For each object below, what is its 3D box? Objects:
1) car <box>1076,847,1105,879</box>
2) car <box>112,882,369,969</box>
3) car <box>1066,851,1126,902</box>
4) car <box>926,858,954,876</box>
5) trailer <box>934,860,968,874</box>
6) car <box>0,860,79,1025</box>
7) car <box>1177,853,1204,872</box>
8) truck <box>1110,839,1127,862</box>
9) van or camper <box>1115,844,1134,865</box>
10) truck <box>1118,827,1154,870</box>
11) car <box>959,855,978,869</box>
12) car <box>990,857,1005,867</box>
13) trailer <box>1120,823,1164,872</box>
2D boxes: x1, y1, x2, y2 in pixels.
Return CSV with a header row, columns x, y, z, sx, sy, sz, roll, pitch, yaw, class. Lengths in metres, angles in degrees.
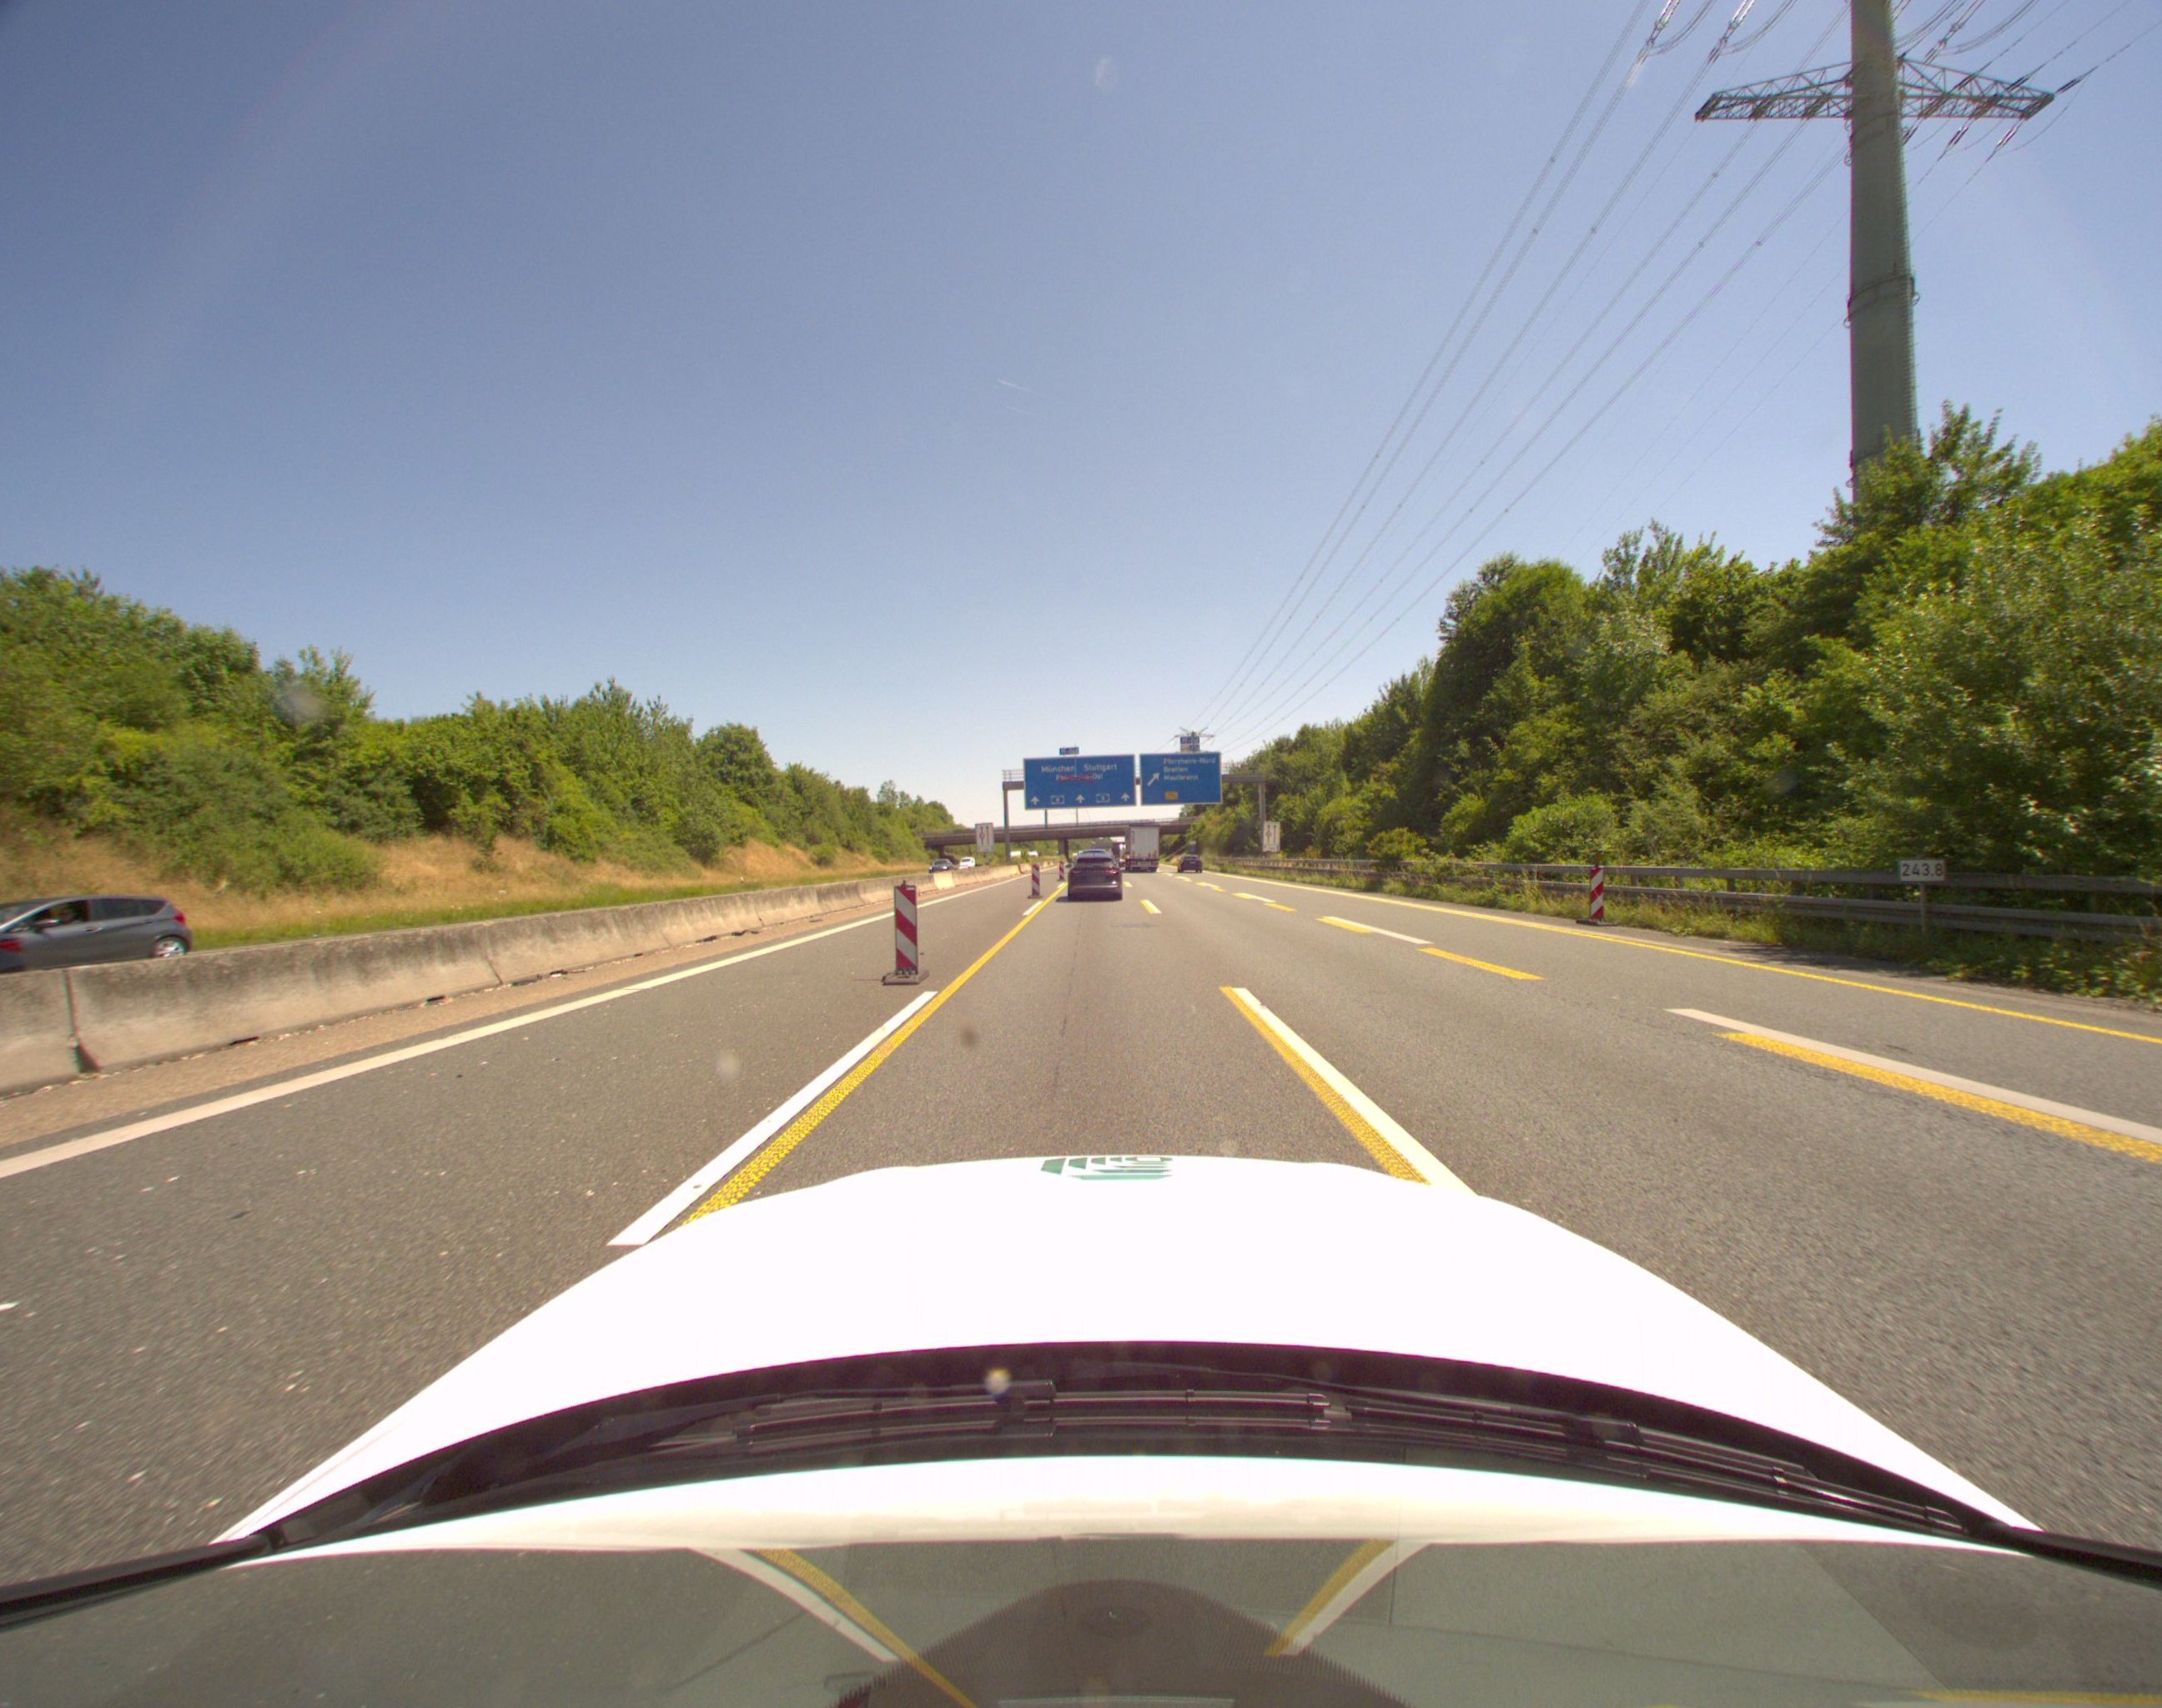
x,y,z,sx,sy,sz,roll,pitch,yaw,class
0.629,0.577,54.717,1.889,1.841,4.443,1,3,0,car
-18.562,1.497,18.290,1.494,1.548,4.001,-2,0,2,car
0.484,0.717,28.467,1.889,1.592,4.442,-2,0,0,car
-13.961,1.277,81.104,1.906,1.753,4.566,-1,0,1,car
-13.831,1.335,87.039,2.348,1.344,7.218,-2,0,1,trailer
-12.766,1.001,7.330,1.736,1.818,4.621,-2,0,0,car
9.061,0.699,67.729,1.773,1.489,4.464,0,0,1,car
7.061,-0.642,154.977,3.066,4.146,13.061,0,0,2,truck
6.328,0.085,118.807,2.576,2.968,6.088,-1,0,2,van or camper
5.371,-0.516,80.669,3.015,4.087,7.794,-1,0,0,truck
-17.071,1.234,123.523,1.924,2.013,5.597,-2,0,1,car
-14.000,1.337,136.417,1.866,1.694,4.499,-2,0,1,car
5.379,-0.520,73.942,3.055,4.042,11.485,-1,0,0,trailer
